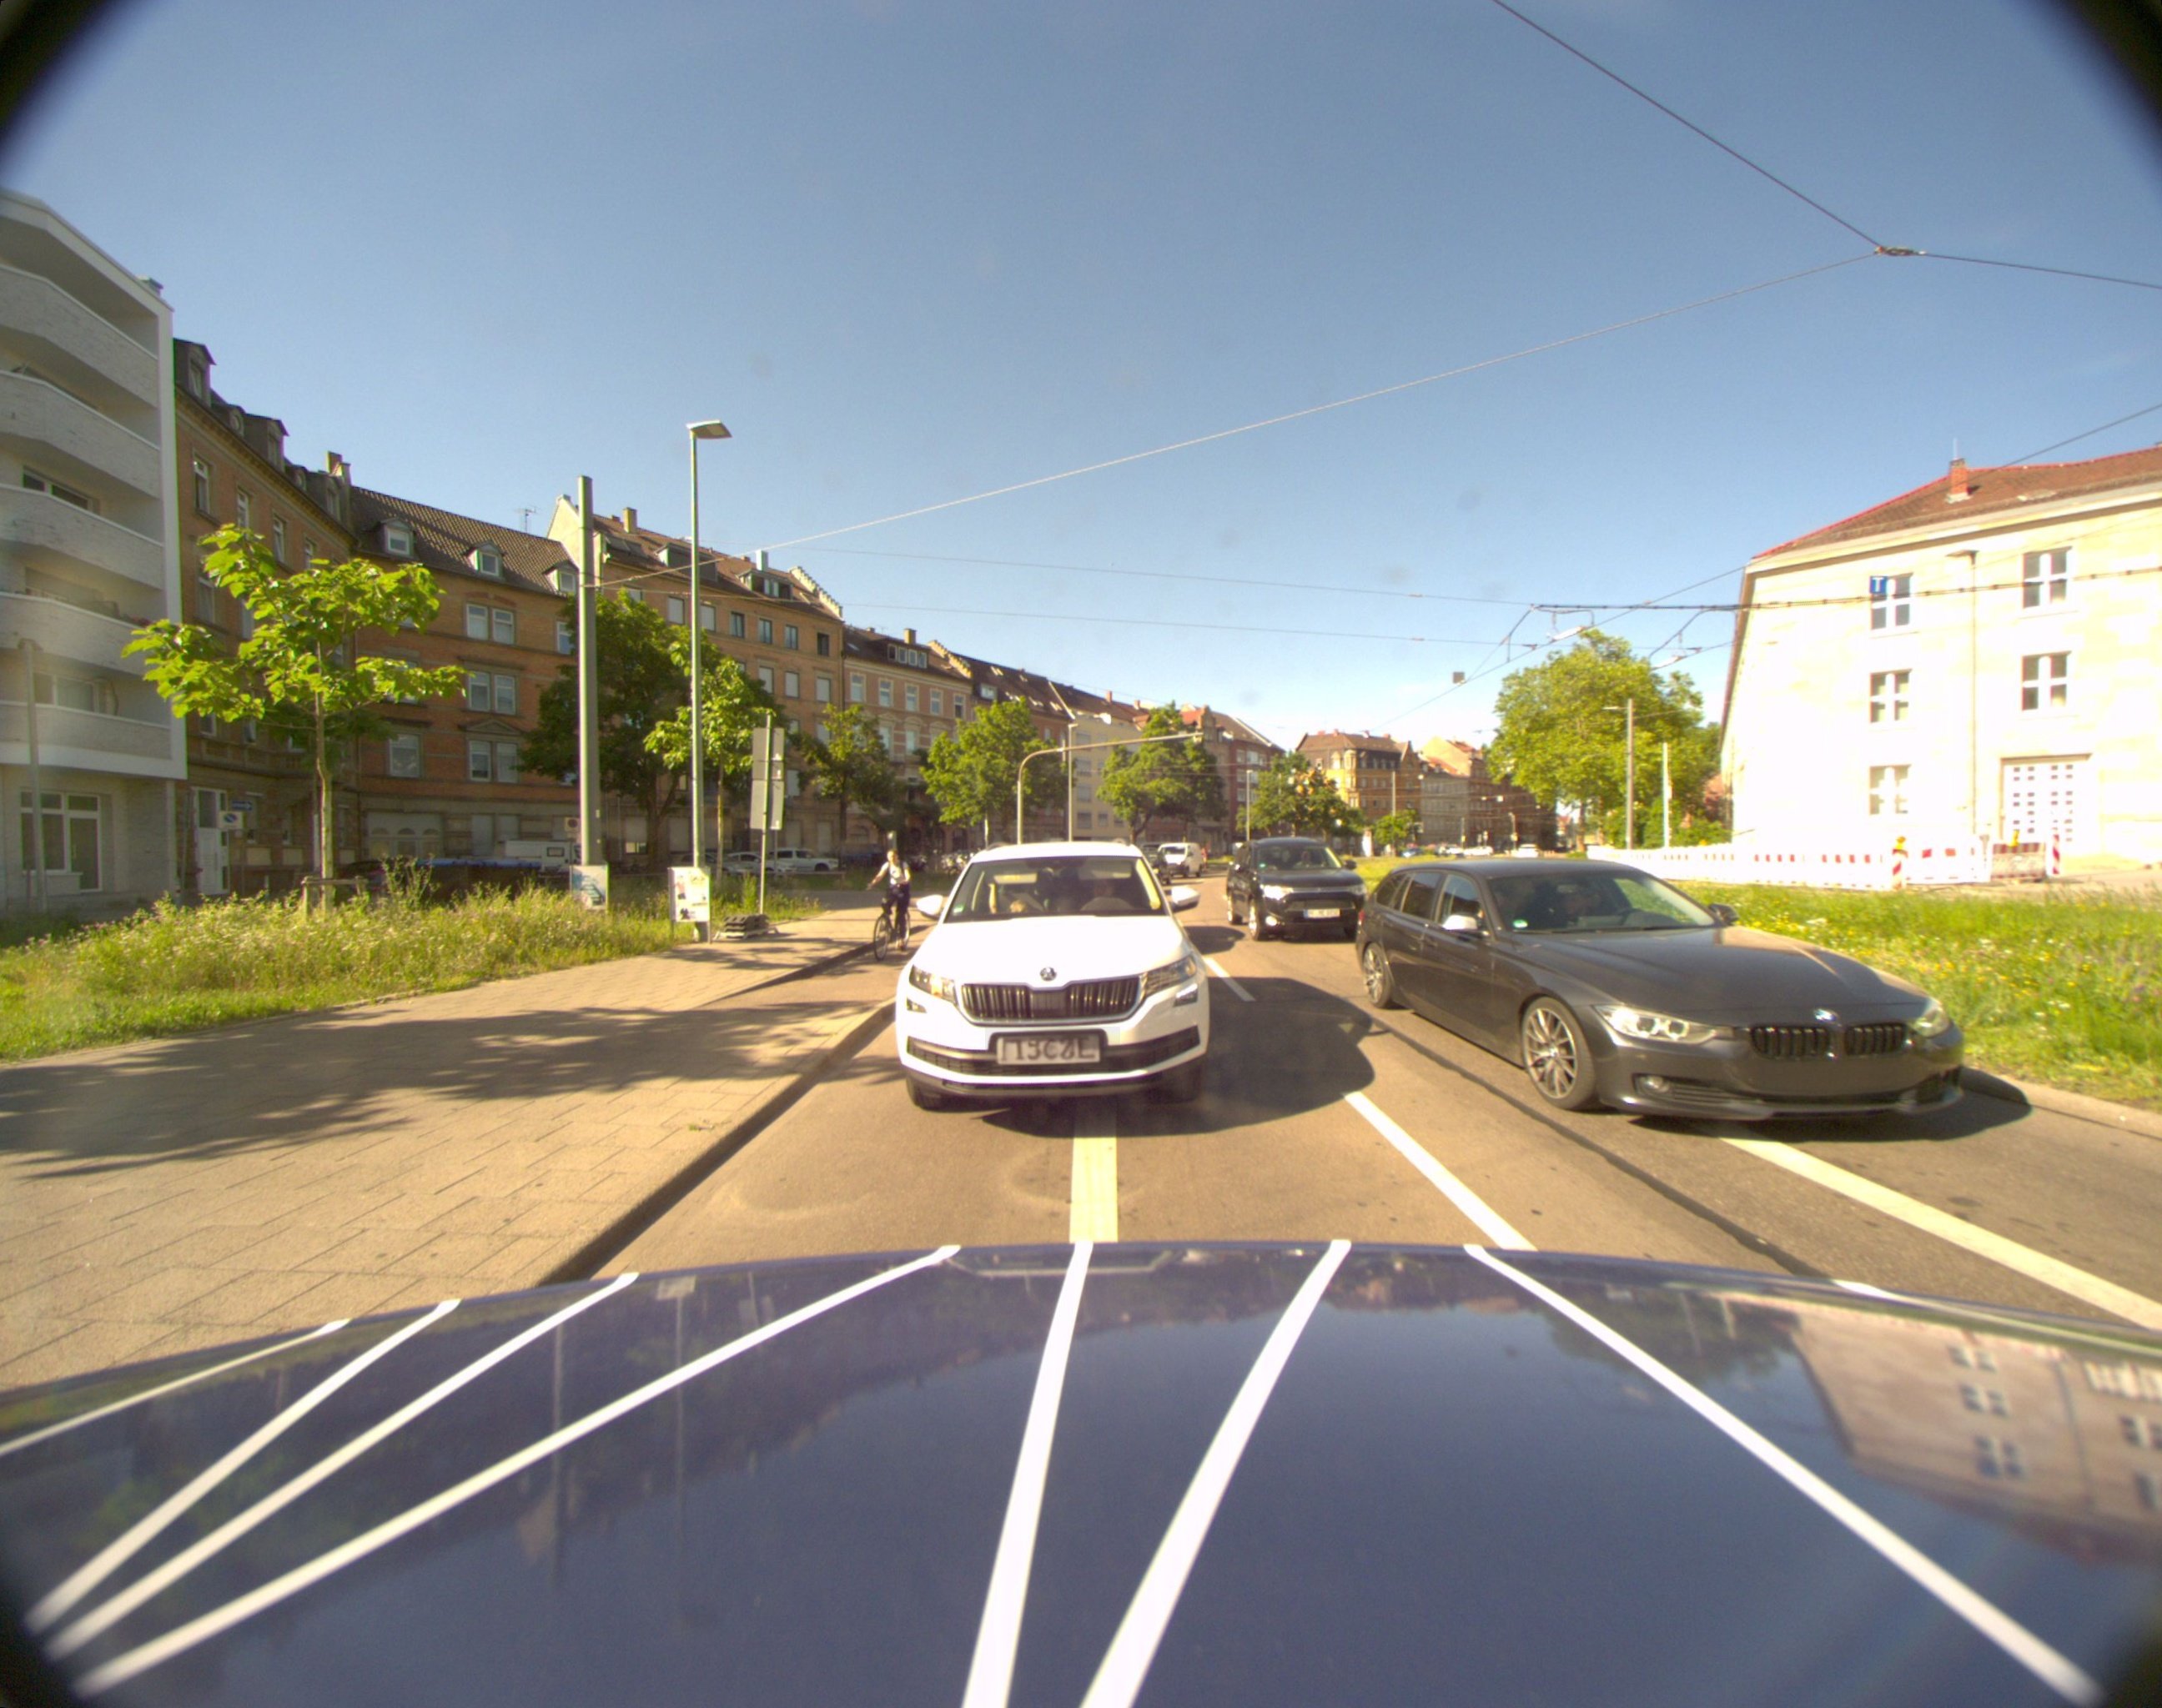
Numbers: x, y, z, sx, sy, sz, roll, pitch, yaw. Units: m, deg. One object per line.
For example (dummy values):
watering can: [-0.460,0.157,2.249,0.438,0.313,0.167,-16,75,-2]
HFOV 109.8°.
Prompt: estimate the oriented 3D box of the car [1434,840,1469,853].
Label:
car: [54.439,-1.110,111.824,2.001,1.864,4.584,-2,1,-16]

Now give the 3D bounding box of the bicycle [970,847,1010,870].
bicycle: [-5.476,0.266,45.743,2.207,1.260,0.662,-3,1,-25]

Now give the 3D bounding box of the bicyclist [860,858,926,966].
bicyclist: [-2.966,0.885,12.043,0.668,1.619,0.972,-1,1,8]

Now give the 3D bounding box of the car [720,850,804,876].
car: [-16.406,0.438,39.108,3.696,1.244,1.683,0,1,13]

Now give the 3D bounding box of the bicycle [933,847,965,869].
bicycle: [-7.729,0.238,44.522,0.664,1.260,2.198,-3,1,-45]

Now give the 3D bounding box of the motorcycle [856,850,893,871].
motorcycle: [-12.602,0.399,46.407,2.199,1.260,0.664,-2,1,24]

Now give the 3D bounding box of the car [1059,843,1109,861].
car: [0.259,-0.161,61.169,3.823,1.398,1.600,0,1,6]

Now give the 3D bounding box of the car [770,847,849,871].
car: [-14.680,0.254,41.197,3.700,1.244,1.540,0,1,2]

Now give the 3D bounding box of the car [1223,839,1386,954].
car: [3.701,0.625,13.403,1.841,1.636,4.399,-2,0,5]

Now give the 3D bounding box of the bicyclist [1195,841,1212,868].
bicyclist: [9.090,0.028,56.420,0.847,2.002,1.198,0,1,27]

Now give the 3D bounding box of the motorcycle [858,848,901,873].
motorcycle: [-11.178,0.373,42.210,2.200,1.322,0.663,-2,1,13]

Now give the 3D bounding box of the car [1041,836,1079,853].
car: [-1.942,-0.944,71.669,1.547,1.578,3.607,1,2,41]

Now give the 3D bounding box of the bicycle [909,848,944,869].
bicycle: [-9.510,0.277,46.715,2.198,1.260,0.664,-2,1,32]

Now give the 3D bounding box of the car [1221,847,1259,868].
car: [12.081,0.260,57.528,1.836,1.464,4.720,0,1,23]

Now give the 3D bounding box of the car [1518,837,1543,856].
car: [41.859,-0.710,70.758,1.820,1.636,4.190,-1,0,33]

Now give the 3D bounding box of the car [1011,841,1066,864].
car: [-3.109,-0.138,56.108,3.825,1.698,1.682,0,1,3]

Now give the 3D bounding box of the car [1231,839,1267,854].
car: [18.690,-0.821,84.665,3.823,1.581,1.600,0,1,6]

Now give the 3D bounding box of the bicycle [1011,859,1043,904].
bicycle: [-1.728,0.870,24.621,0.736,1.353,2.076,-1,1,5]

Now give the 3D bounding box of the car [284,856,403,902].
car: [-26.166,0.826,27.150,1.835,1.419,4.378,-1,1,-27]

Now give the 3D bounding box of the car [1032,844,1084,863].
car: [-1.777,-0.056,58.717,3.823,1.398,1.600,0,1,6]

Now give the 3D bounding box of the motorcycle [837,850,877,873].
motorcycle: [-13.289,0.436,45.022,2.314,1.270,0.664,-2,1,24]

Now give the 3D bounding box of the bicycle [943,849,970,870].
bicycle: [-7.686,0.339,46.763,0.664,1.260,2.199,-3,1,-36]

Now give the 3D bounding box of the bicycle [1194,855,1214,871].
bicycle: [9.165,0.675,56.525,0.763,1.138,2.287,0,1,28]

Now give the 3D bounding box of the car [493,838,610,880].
car: [-27.117,0.214,39.011,2.047,2.026,4.510,1,2,41]

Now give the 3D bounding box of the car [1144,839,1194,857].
car: [8.195,-0.590,70.614,4.578,1.658,1.600,0,1,7]

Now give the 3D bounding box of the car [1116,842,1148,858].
car: [5.465,-0.424,80.733,1.547,1.578,3.607,1,2,41]

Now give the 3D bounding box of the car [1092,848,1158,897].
car: [1.645,0.597,26.962,1.838,1.543,4.151,0,1,10]

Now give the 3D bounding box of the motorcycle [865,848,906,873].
motorcycle: [-11.148,0.355,43.297,2.200,1.315,0.664,-2,1,18]

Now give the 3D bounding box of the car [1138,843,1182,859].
car: [7.124,-0.250,68.184,3.823,1.372,1.600,0,1,9]

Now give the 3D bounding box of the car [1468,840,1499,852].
car: [60.528,-1.241,114.370,3.989,1.641,1.866,-2,1,31]

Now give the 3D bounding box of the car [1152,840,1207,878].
car: [5.685,0.229,43.267,1.979,2.074,4.720,0,1,22]

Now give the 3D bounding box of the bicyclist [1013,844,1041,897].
bicyclist: [-1.737,0.525,24.628,0.735,1.685,0.971,-1,1,5]

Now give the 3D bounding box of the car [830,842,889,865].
car: [-15.611,-0.059,53.674,1.547,1.578,3.709,1,2,41]

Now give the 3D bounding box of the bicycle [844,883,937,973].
bicycle: [-2.965,1.117,12.084,0.668,1.190,2.155,-1,1,7]

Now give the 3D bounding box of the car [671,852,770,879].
car: [-17.499,0.531,36.909,4.156,1.244,1.683,0,1,13]

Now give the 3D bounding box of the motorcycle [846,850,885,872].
motorcycle: [-12.940,0.413,45.628,2.314,1.276,0.664,-2,1,24]

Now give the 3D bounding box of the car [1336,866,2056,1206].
car: [3.482,0.848,5.599,1.741,1.359,4.426,-2,0,1]

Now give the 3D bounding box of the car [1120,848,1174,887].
car: [3.108,0.557,34.806,1.837,1.637,4.152,0,1,14]

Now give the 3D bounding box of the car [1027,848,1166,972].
car: [0.238,0.761,12.613,1.842,1.636,4.397,-2,0,1]

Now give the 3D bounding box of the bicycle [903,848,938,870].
bicycle: [-9.707,0.293,46.012,2.198,1.260,0.664,-2,1,32]

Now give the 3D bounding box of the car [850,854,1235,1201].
car: [-0.224,0.853,5.954,1.842,1.636,4.397,-2,0,-1]

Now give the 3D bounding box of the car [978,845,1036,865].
car: [-5.228,0.085,53.969,3.822,1.398,1.683,0,1,9]

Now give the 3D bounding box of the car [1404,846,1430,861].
car: [40.076,-0.092,90.586,1.835,1.637,4.157,1,2,40]

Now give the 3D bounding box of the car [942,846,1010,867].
car: [-7.044,0.173,51.299,4.322,1.398,1.682,0,1,3]

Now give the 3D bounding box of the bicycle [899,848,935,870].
bicycle: [-9.743,0.305,45.074,2.198,1.260,0.664,-2,1,30]

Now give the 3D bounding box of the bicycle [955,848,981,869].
bicycle: [-7.123,0.306,47.757,0.664,1.260,2.199,-3,1,-36]
